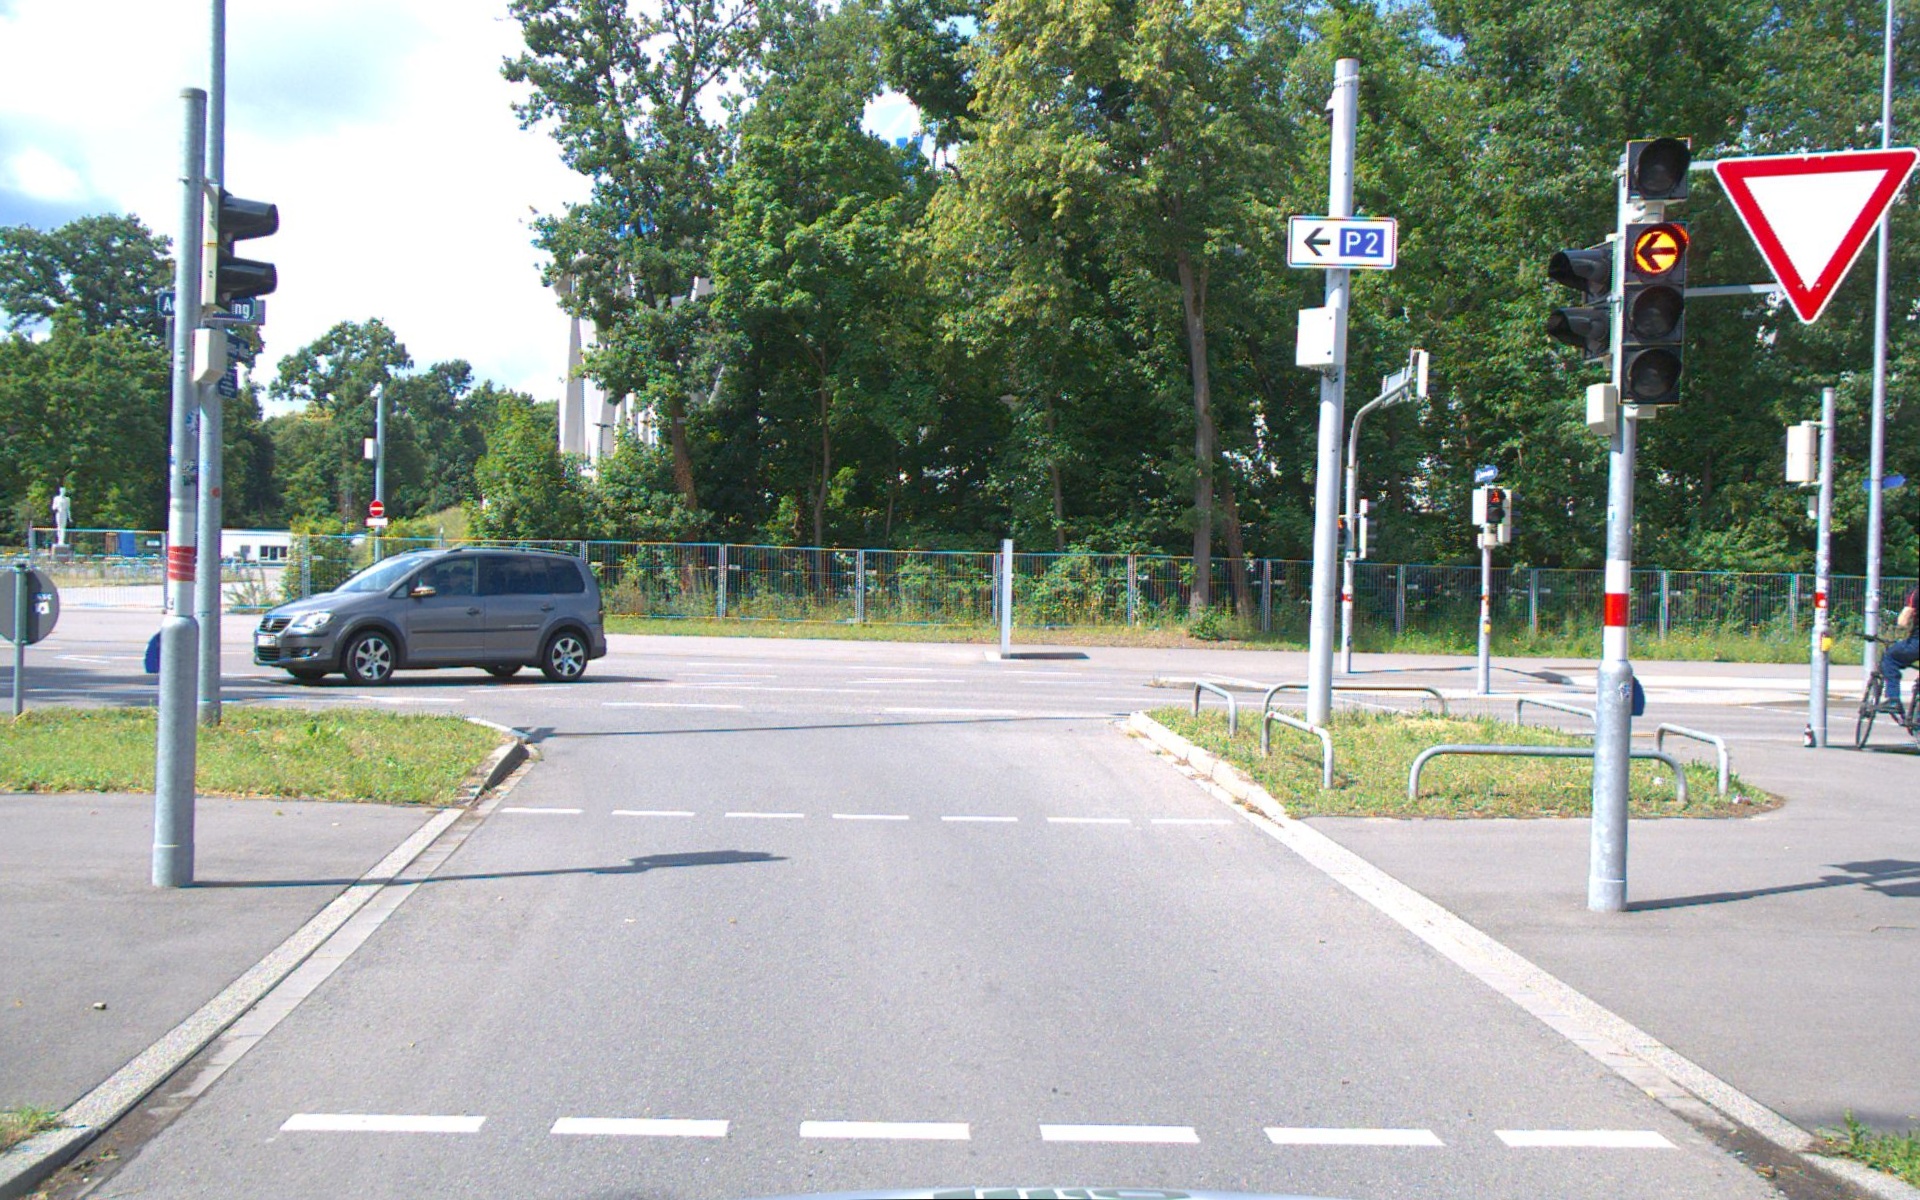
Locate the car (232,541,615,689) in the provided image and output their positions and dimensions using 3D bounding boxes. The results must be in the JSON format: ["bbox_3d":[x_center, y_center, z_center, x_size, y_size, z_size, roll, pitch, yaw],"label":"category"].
[{"bbox_3d":[-6.593,0.144,20.661,1.737,1.658,4.269,1,1,44],"label":"car"}]

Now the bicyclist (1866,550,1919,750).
[{"bbox_3d":[9.220,0.466,15.610,0.866,1.829,0.979,1,-1,7],"label":"bicyclist"}]

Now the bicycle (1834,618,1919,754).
[{"bbox_3d":[9.232,0.796,15.912,0.861,1.227,1.899,1,0,8],"label":"bicycle"}]
